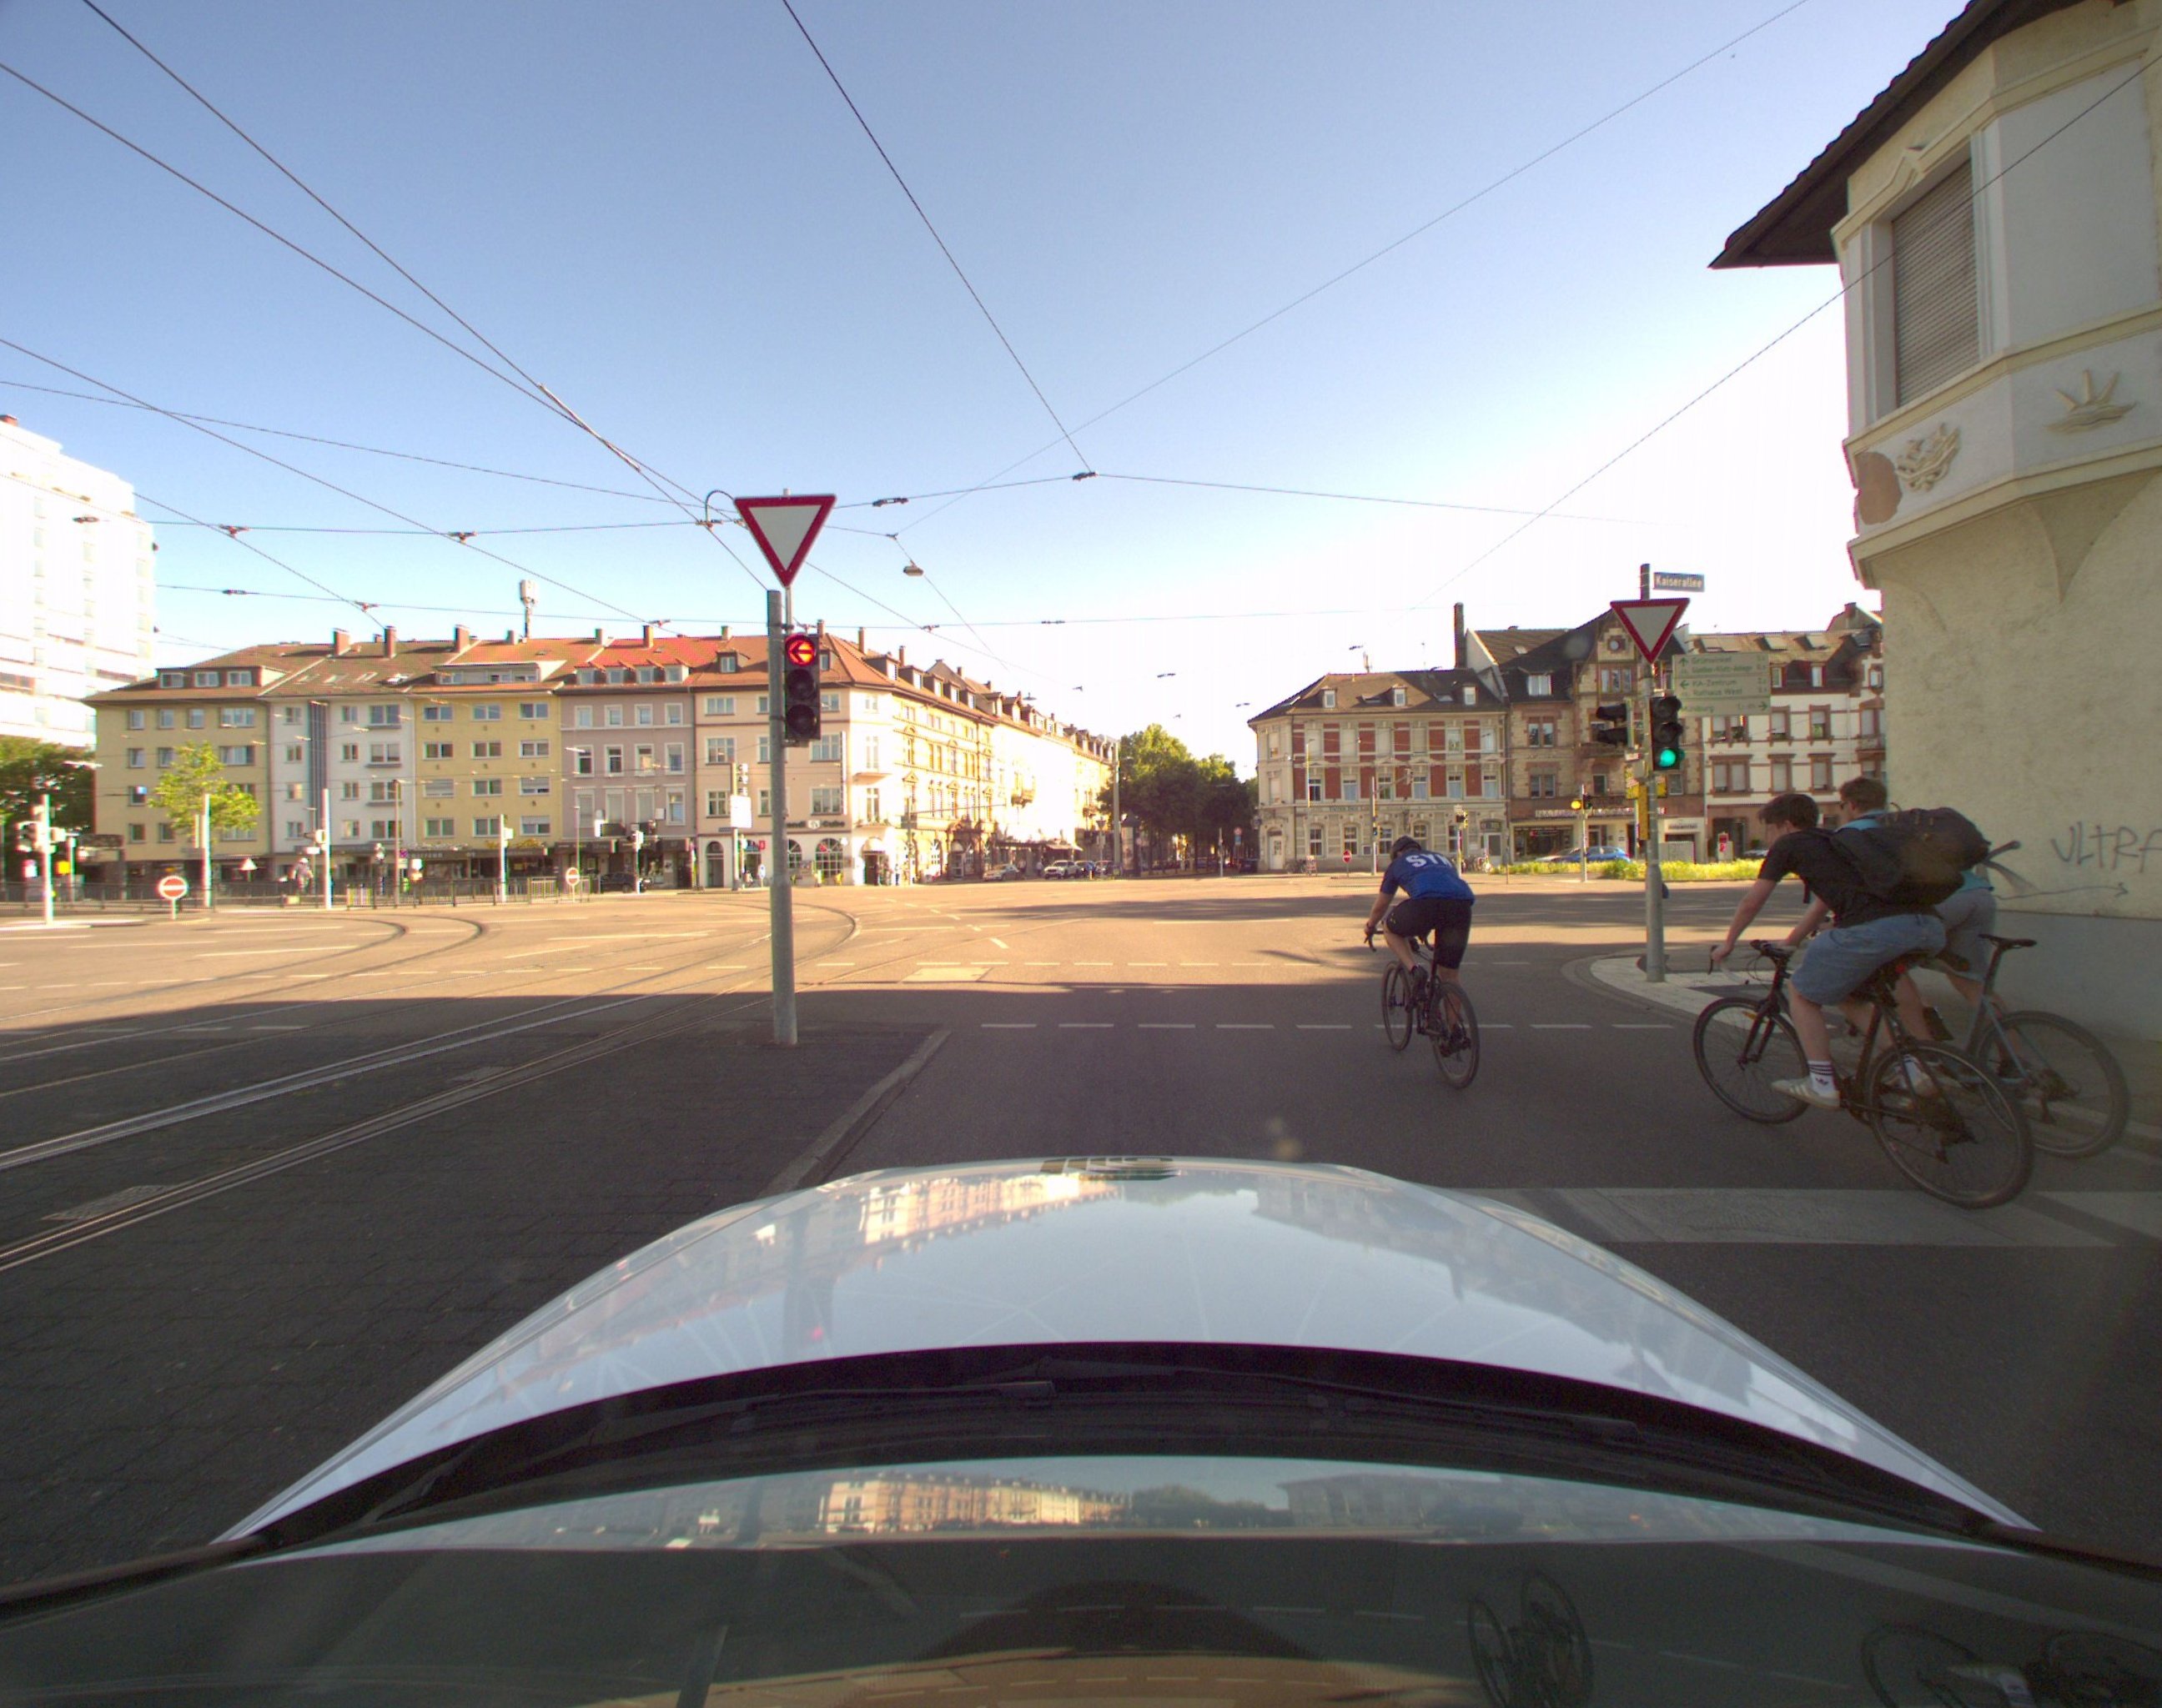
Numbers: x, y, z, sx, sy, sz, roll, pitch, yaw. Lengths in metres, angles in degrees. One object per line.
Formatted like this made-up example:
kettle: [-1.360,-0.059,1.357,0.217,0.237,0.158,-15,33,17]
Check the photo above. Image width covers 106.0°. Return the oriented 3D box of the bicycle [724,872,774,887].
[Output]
bicycle: [-23.421,1.792,57.463,3.118,0.980,1.002,0,-1,1]

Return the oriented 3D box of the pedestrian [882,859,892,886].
pedestrian: [-13.690,1.284,57.522,0.631,1.881,0.465,0,-1,-2]

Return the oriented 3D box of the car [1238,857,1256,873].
car: [16.824,1.124,82.358,1.680,1.565,3.855,-1,-1,14]

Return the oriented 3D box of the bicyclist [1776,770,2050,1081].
bicyclist: [4.771,0.380,4.748,0.686,1.633,0.884,0,-1,4]

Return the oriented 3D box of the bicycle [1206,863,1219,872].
bicycle: [16.001,1.652,98.859,0.630,1.085,1.687,0,-1,-28]

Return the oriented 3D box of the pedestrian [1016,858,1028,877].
pedestrian: [-4.755,1.107,65.486,0.814,1.512,0.601,-1,-1,16]

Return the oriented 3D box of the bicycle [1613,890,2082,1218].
bicycle: [3.615,0.835,4.102,0.752,1.236,1.702,0,-1,0]

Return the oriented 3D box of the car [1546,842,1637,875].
car: [28.231,0.264,45.134,3.769,1.778,2.000,0,-1,1]

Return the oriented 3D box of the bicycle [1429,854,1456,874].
bicycle: [23.265,0.645,52.417,0.689,1.287,2.663,0,-1,3]

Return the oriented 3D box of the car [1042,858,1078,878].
car: [-1.663,1.168,67.525,1.979,1.618,4.015,-1,-1,14]

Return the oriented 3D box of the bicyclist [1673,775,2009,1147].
bicyclist: [3.622,0.464,3.981,0.803,1.606,0.883,0,-1,0]

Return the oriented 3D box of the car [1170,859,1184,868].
car: [16.077,1.523,136.009,1.546,1.513,3.673,-1,-1,19]

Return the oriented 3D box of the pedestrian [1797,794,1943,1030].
pedestrian: [6.326,0.440,6.536,0.589,1.756,0.635,-5,-1,-37]

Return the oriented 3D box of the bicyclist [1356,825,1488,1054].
bicyclist: [2.380,0.549,5.778,0.635,1.494,0.885,0,1,6]

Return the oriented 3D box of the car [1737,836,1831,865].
car: [45.315,-0.228,52.563,4.349,1.778,2.000,0,-1,1]

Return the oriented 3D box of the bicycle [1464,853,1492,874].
bicycle: [25.506,0.613,52.378,0.626,1.287,2.663,0,-1,3]

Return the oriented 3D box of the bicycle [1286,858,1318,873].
bicycle: [15.419,0.797,56.862,2.040,0.998,0.631,-1,-1,4]

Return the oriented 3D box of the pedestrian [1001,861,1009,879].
pedestrian: [-7.034,1.479,75.098,0.539,1.631,0.709,-1,-1,15]

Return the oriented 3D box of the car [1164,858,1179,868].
car: [14.612,1.448,131.611,1.546,1.513,3.673,-1,-1,19]

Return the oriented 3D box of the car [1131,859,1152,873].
car: [8.405,1.623,112.688,1.977,1.904,4.019,-1,-1,19]

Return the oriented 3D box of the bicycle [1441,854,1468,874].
bicycle: [23.988,0.637,52.410,0.626,1.287,2.663,0,-1,3]

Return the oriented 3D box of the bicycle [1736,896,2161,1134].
bicycle: [4.778,0.797,4.687,0.647,1.031,1.772,0,-1,3]

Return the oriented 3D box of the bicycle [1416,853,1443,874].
bicycle: [22.414,0.593,52.428,0.689,1.287,2.663,0,-1,3]

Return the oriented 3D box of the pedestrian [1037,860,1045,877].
pedestrian: [-4.056,1.471,82.784,0.539,1.631,0.709,-1,-1,15]

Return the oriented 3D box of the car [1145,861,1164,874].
car: [11.037,2.023,122.467,1.977,1.904,4.019,-1,-1,19]

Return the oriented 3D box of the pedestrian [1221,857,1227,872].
pedestrian: [17.817,1.322,101.627,0.635,1.796,0.492,-1,-1,14]

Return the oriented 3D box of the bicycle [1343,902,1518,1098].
bicycle: [2.381,0.932,5.771,0.623,1.085,1.705,0,-1,5]

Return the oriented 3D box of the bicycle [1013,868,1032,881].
bicycle: [-4.727,1.637,65.554,0.756,1.008,2.406,-1,-1,16]

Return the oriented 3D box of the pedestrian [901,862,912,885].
pedestrian: [-12.352,1.388,57.624,0.631,1.634,0.700,0,-1,-2]

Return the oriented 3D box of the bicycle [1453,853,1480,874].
bicycle: [24.778,0.612,52.382,0.626,1.287,2.663,0,-1,3]

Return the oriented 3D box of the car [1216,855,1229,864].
car: [23.280,0.920,134.301,1.546,1.513,3.673,-1,-1,19]

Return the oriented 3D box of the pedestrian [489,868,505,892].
pedestrian: [-41.087,1.810,57.327,0.631,1.634,0.700,0,-1,-2]

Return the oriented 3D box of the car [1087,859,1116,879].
car: [2.064,1.405,79.888,1.979,1.904,4.015,-1,-1,14]

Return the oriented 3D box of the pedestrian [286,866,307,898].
pedestrian: [-40.212,1.445,41.752,0.523,1.628,0.577,0,-1,0]

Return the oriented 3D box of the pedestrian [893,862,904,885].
pedestrian: [-12.633,1.345,56.363,0.631,1.634,0.700,0,-1,-2]

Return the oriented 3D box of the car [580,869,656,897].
car: [-30.585,1.920,53.814,3.962,1.670,2.006,-2,0,10]

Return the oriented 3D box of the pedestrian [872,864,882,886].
pedestrian: [-14.196,1.459,56.652,0.631,1.477,0.465,0,-1,-2]

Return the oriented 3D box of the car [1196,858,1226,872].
car: [18.346,1.565,114.720,3.955,1.904,2.009,-1,-1,17]

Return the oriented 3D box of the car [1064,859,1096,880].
car: [-0.029,1.372,73.870,1.979,1.904,4.015,-1,-1,14]

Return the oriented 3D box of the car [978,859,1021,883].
car: [-6.722,1.370,67.477,1.977,1.904,4.019,-1,-1,19]

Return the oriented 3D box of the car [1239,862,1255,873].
car: [20.880,1.656,102.375,1.741,1.362,3.870,-1,-1,14]

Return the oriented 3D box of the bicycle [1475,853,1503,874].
bicycle: [26.201,0.608,52.349,0.626,1.287,2.663,0,-1,3]
